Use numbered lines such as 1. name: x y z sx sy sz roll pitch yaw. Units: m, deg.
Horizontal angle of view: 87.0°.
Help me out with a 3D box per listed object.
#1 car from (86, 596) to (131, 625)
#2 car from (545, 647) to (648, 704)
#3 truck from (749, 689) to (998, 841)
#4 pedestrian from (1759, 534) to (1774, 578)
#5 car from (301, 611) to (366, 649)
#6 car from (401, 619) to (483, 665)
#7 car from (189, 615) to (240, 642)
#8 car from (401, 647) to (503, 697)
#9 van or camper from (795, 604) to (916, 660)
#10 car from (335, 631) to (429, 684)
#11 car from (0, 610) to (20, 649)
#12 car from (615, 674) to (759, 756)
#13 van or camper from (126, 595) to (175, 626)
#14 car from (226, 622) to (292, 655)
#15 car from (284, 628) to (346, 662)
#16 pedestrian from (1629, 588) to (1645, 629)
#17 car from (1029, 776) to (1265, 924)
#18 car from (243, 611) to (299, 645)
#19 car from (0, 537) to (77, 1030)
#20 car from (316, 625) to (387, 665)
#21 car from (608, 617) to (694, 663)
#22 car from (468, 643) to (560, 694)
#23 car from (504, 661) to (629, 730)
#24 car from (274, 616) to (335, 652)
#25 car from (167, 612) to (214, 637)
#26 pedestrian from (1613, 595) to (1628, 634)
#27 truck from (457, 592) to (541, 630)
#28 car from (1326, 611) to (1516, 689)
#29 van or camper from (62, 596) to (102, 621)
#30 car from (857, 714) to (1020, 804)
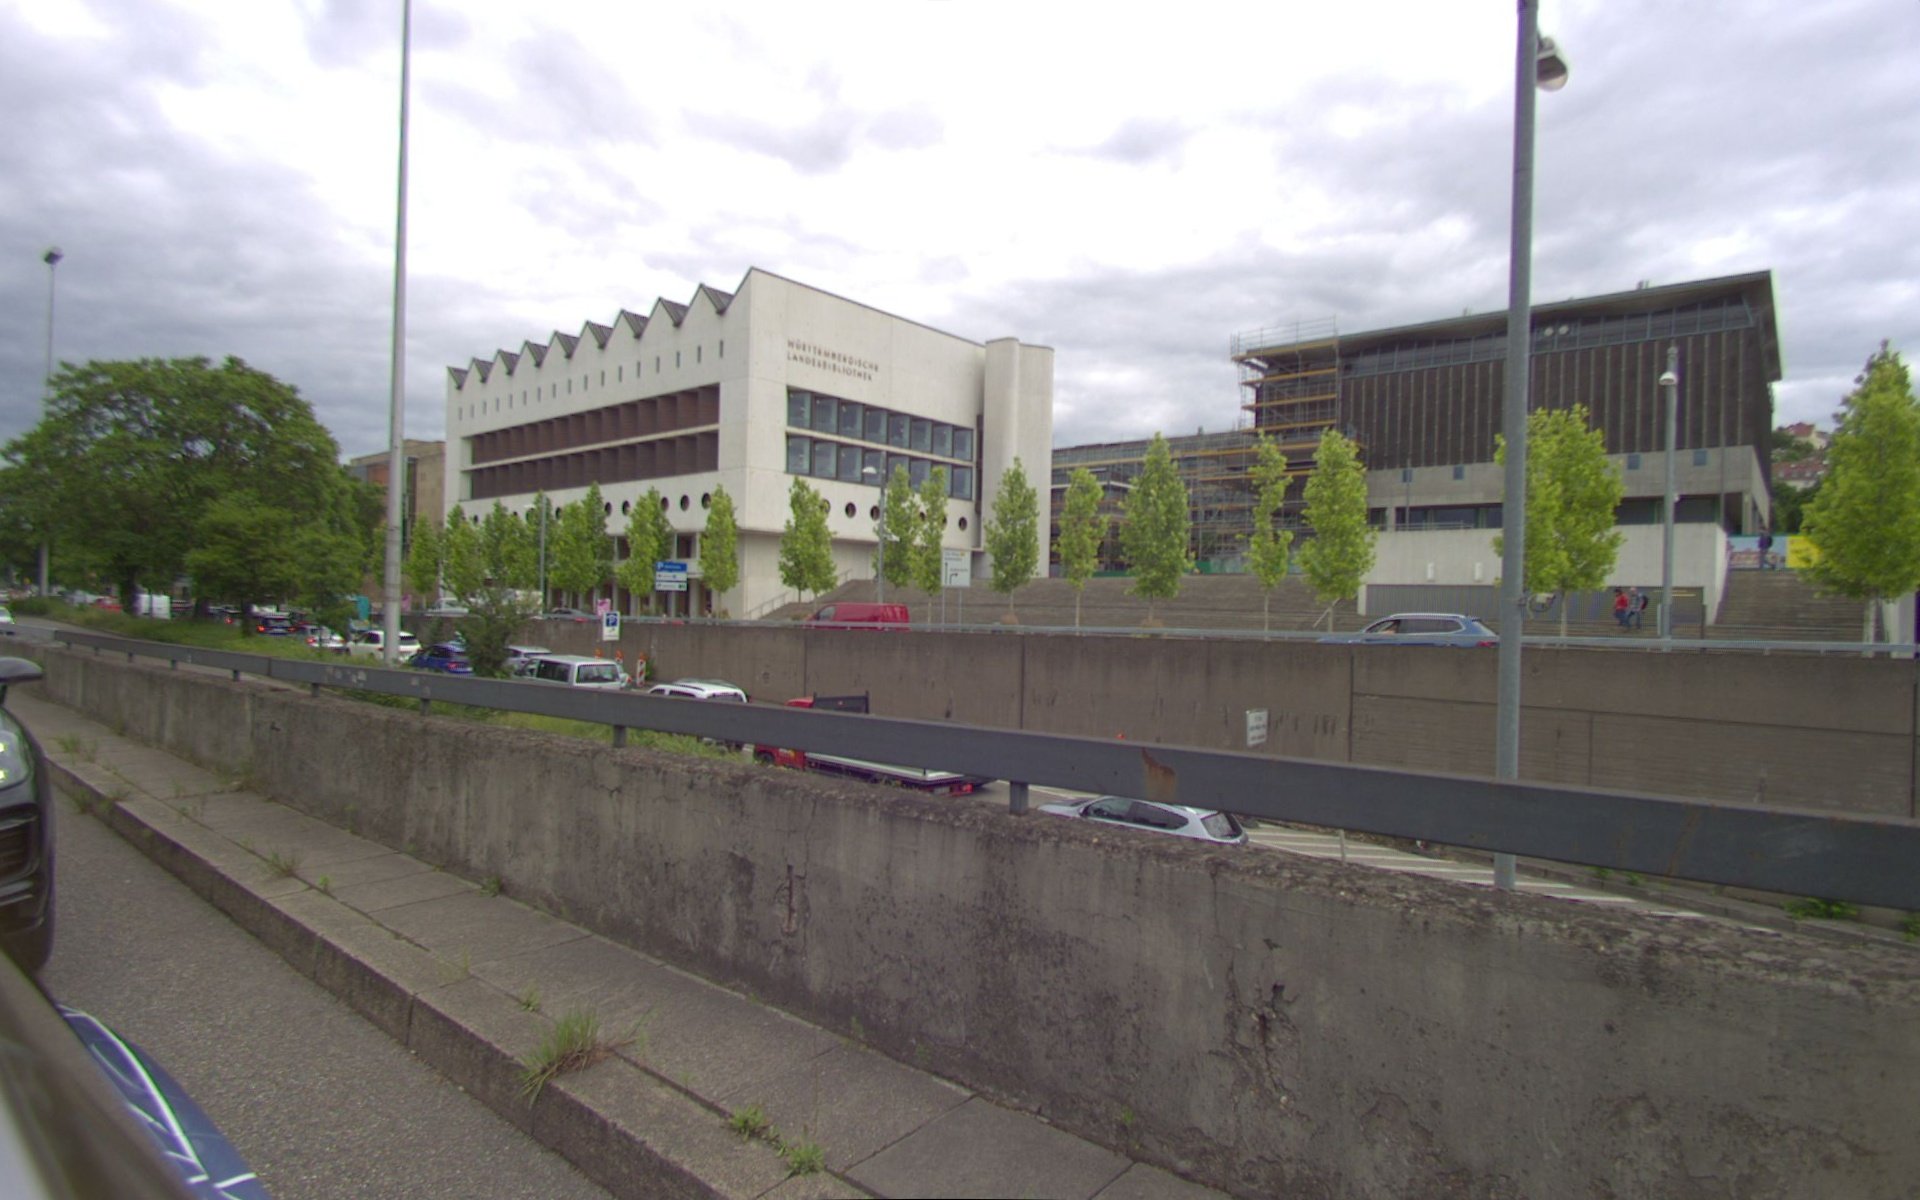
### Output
1. car: -64.426 0.829 76.563 3.998 2.028 1.973 -2 2 41
2. car: -14.039 2.886 38.994 3.998 2.029 1.973 -2 -5 41
3. truck: -2.148 3.608 23.501 5.976 2.711 2.294 -2 -1 42
4. pedestrian: 35.094 -1.905 44.028 0.461 1.881 0.377 -1 0 35
5. car: -35.722 1.737 57.698 3.998 2.029 1.973 -2 -5 41
6. car: -24.316 1.966 47.465 3.998 2.029 1.973 -2 -5 41
7. car: -42.099 1.605 57.154 3.360 1.497 1.653 -2 -1 41
8. car: -19.592 2.759 38.935 4.279 1.757 1.973 -2 -5 41
9. van or camper: -4.066 1.231 38.934 4.551 2.029 1.974 -2 -2 38
10. car: -24.918 2.456 43.571 4.849 2.148 1.973 -2 -5 41
11. car: -52.670 1.611 54.944 3.998 2.029 1.973 -1 -1 41
12. car: -7.740 3.176 28.567 3.998 2.029 1.973 -2 -5 41
13. van or camper: -55.456 0.710 69.308 3.998 2.029 2.010 -2 -1 41
14. car: -37.134 2.003 53.565 3.998 1.672 1.973 -2 -1 41
15. car: -31.085 2.141 48.746 3.360 1.497 1.653 -1 -1 41
16. pedestrian: 25.728 0.329 38.454 0.461 1.533 0.377 -1 0 35
17. car: 3.375 4.468 18.657 3.925 1.829 1.771 -2 -1 40
18. car: -44.560 1.826 65.415 3.998 2.029 1.973 -2 -5 41
19. car: -5.548 0.674 4.452 4.677 1.690 1.913 -2 -1 41
20. car: -33.011 2.403 54.881 4.653 2.029 1.973 -2 -1 41
21. car: -14.487 1.817 47.342 3.996 2.029 1.974 -1 0 40
22. car: -18.843 2.868 42.737 3.998 2.029 1.973 -2 -5 41
23. car: -12.920 3.065 33.126 4.330 2.029 1.973 -2 -5 41
24. car: -39.305 2.054 60.665 3.998 2.029 1.973 -2 -5 41
25. car: -46.962 1.487 61.717 3.360 1.497 1.653 -2 -1 41
26. pedestrian: 25.658 0.564 39.319 0.461 1.533 0.377 -1 0 35
27. truck: -27.200 0.679 59.624 5.606 2.174 1.979 -1 -1 35
28. car: 11.691 1.223 25.809 3.998 1.829 1.973 -2 -2 41
29. van or camper: -72.719 0.730 83.826 3.998 2.029 2.010 -2 -1 41
30. car: -0.591 3.980 25.946 3.861 1.830 1.974 -2 -3 39
